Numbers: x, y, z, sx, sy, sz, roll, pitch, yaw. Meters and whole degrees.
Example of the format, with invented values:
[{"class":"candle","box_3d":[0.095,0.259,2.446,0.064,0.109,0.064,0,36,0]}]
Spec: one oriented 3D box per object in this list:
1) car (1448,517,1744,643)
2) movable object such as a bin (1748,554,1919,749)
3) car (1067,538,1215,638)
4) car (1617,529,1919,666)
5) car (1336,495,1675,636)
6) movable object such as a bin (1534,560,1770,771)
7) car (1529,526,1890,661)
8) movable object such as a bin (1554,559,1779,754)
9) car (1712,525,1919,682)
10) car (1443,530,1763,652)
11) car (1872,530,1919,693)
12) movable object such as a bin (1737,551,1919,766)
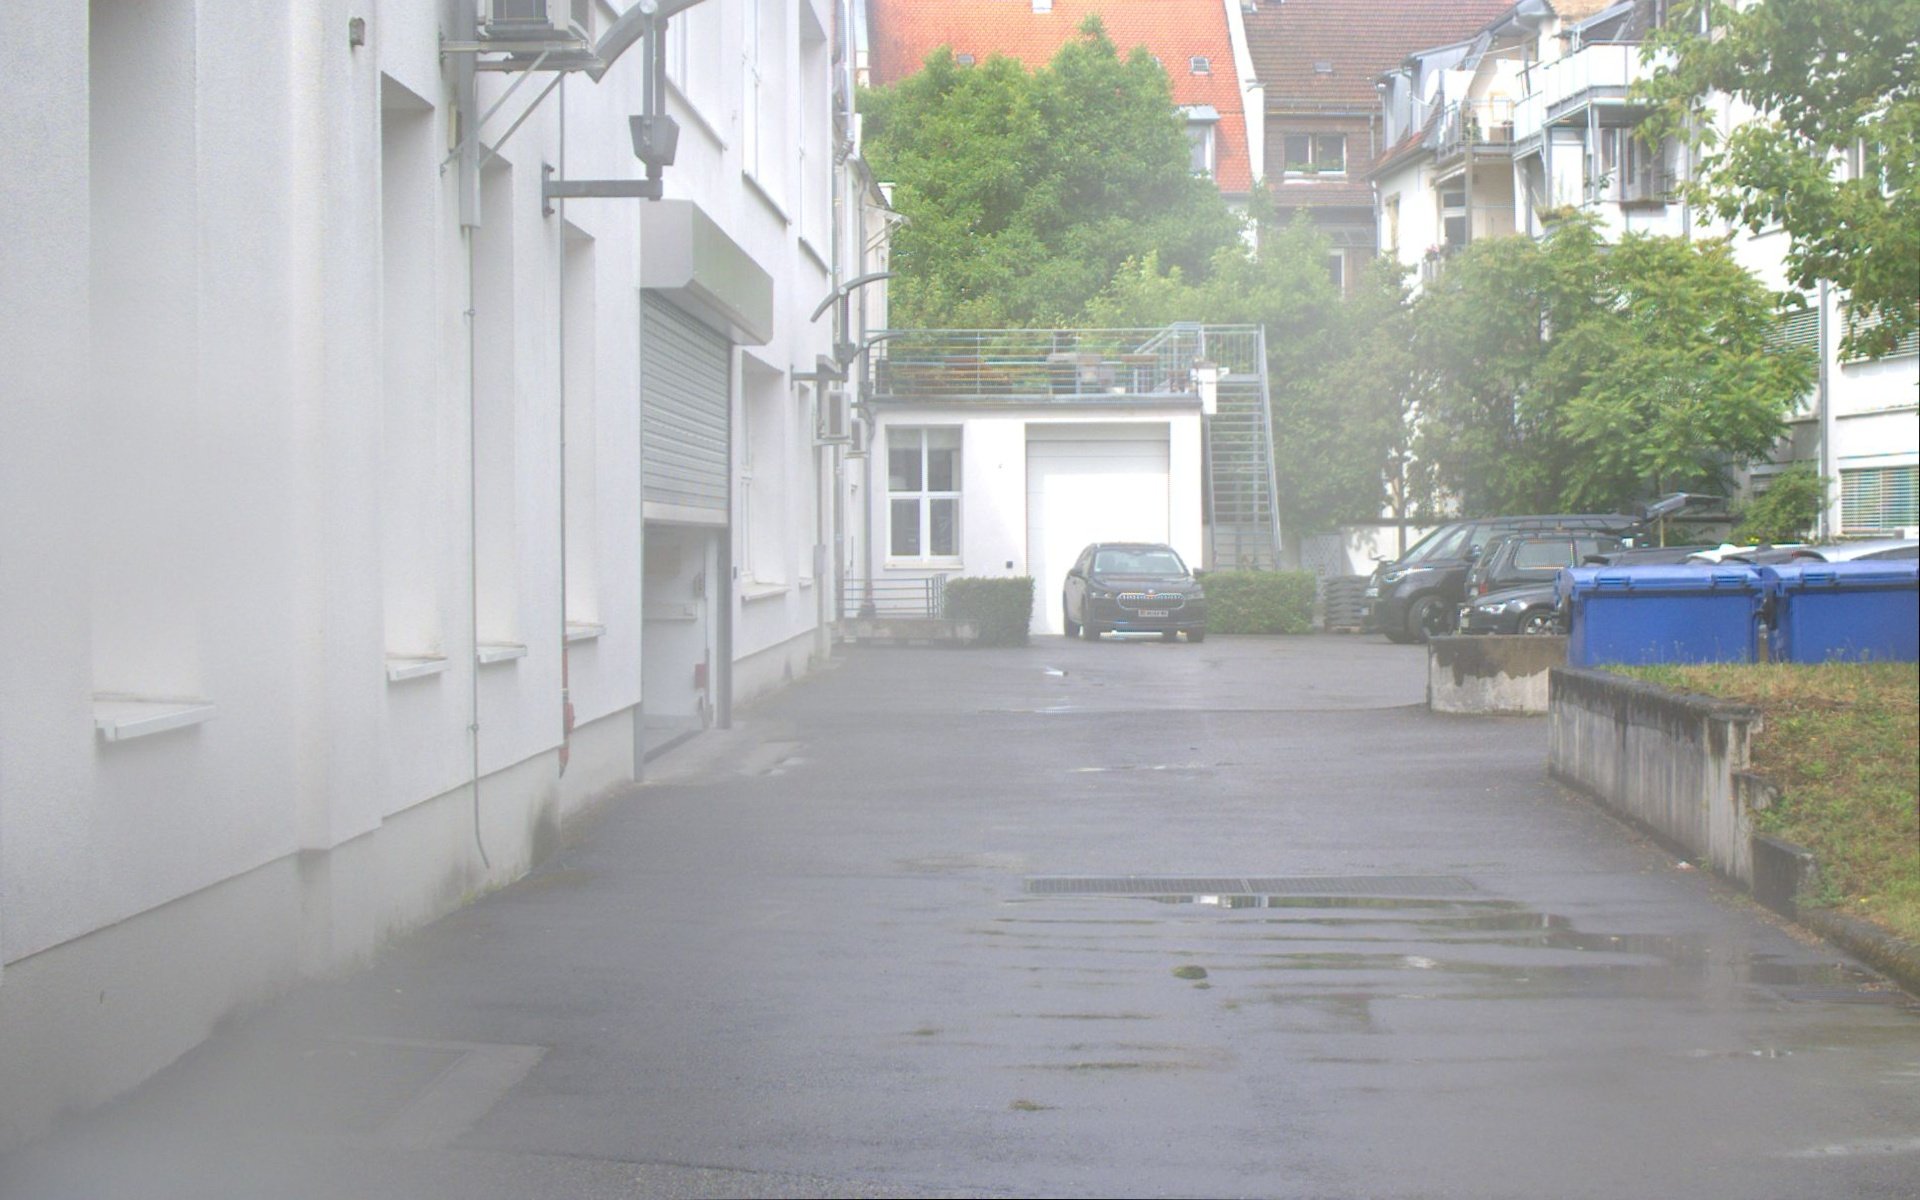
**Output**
[{"class":"car","box_3d":[9.178,-0.294,49.798,3.909,1.681,1.817,-2,1,0]},{"class":"movable object such as a bin","box_3d":[6.214,0.344,23.994,1.185,1.300,1.107,-1,1,2]},{"class":"car","box_3d":[2.714,-0.211,52.404,1.979,1.439,4.000,0,1,-1]},{"class":"car","box_3d":[9.614,-0.053,38.786,3.986,1.453,1.773,-1,1,-4]},{"class":"car","box_3d":[8.319,-0.553,52.631,4.634,1.996,2.226,-2,2,-9]},{"class":"movable object such as a bin","box_3d":[4.460,0.411,22.250,1.337,1.287,1.095,-1,2,3]},{"class":"car","box_3d":[9.145,-0.088,42.104,3.908,1.508,1.820,-2,1,-6]},{"class":"movable object such as a bin","box_3d":[4.913,0.379,24.008,1.372,1.300,1.083,-1,1,3]},{"class":"car","box_3d":[9.564,-0.013,33.547,3.986,1.440,1.807,-2,1,-2]},{"class":"car","box_3d":[8.686,-0.132,46.631,3.908,1.508,1.752,-2,1,-4]},{"class":"car","box_3d":[10.071,0.037,30.577,3.415,1.422,1.688,-2,0,-1]},{"class":"movable object such as a bin","box_3d":[5.801,0.360,22.268,1.293,1.332,1.197,-1,1,3]}]
